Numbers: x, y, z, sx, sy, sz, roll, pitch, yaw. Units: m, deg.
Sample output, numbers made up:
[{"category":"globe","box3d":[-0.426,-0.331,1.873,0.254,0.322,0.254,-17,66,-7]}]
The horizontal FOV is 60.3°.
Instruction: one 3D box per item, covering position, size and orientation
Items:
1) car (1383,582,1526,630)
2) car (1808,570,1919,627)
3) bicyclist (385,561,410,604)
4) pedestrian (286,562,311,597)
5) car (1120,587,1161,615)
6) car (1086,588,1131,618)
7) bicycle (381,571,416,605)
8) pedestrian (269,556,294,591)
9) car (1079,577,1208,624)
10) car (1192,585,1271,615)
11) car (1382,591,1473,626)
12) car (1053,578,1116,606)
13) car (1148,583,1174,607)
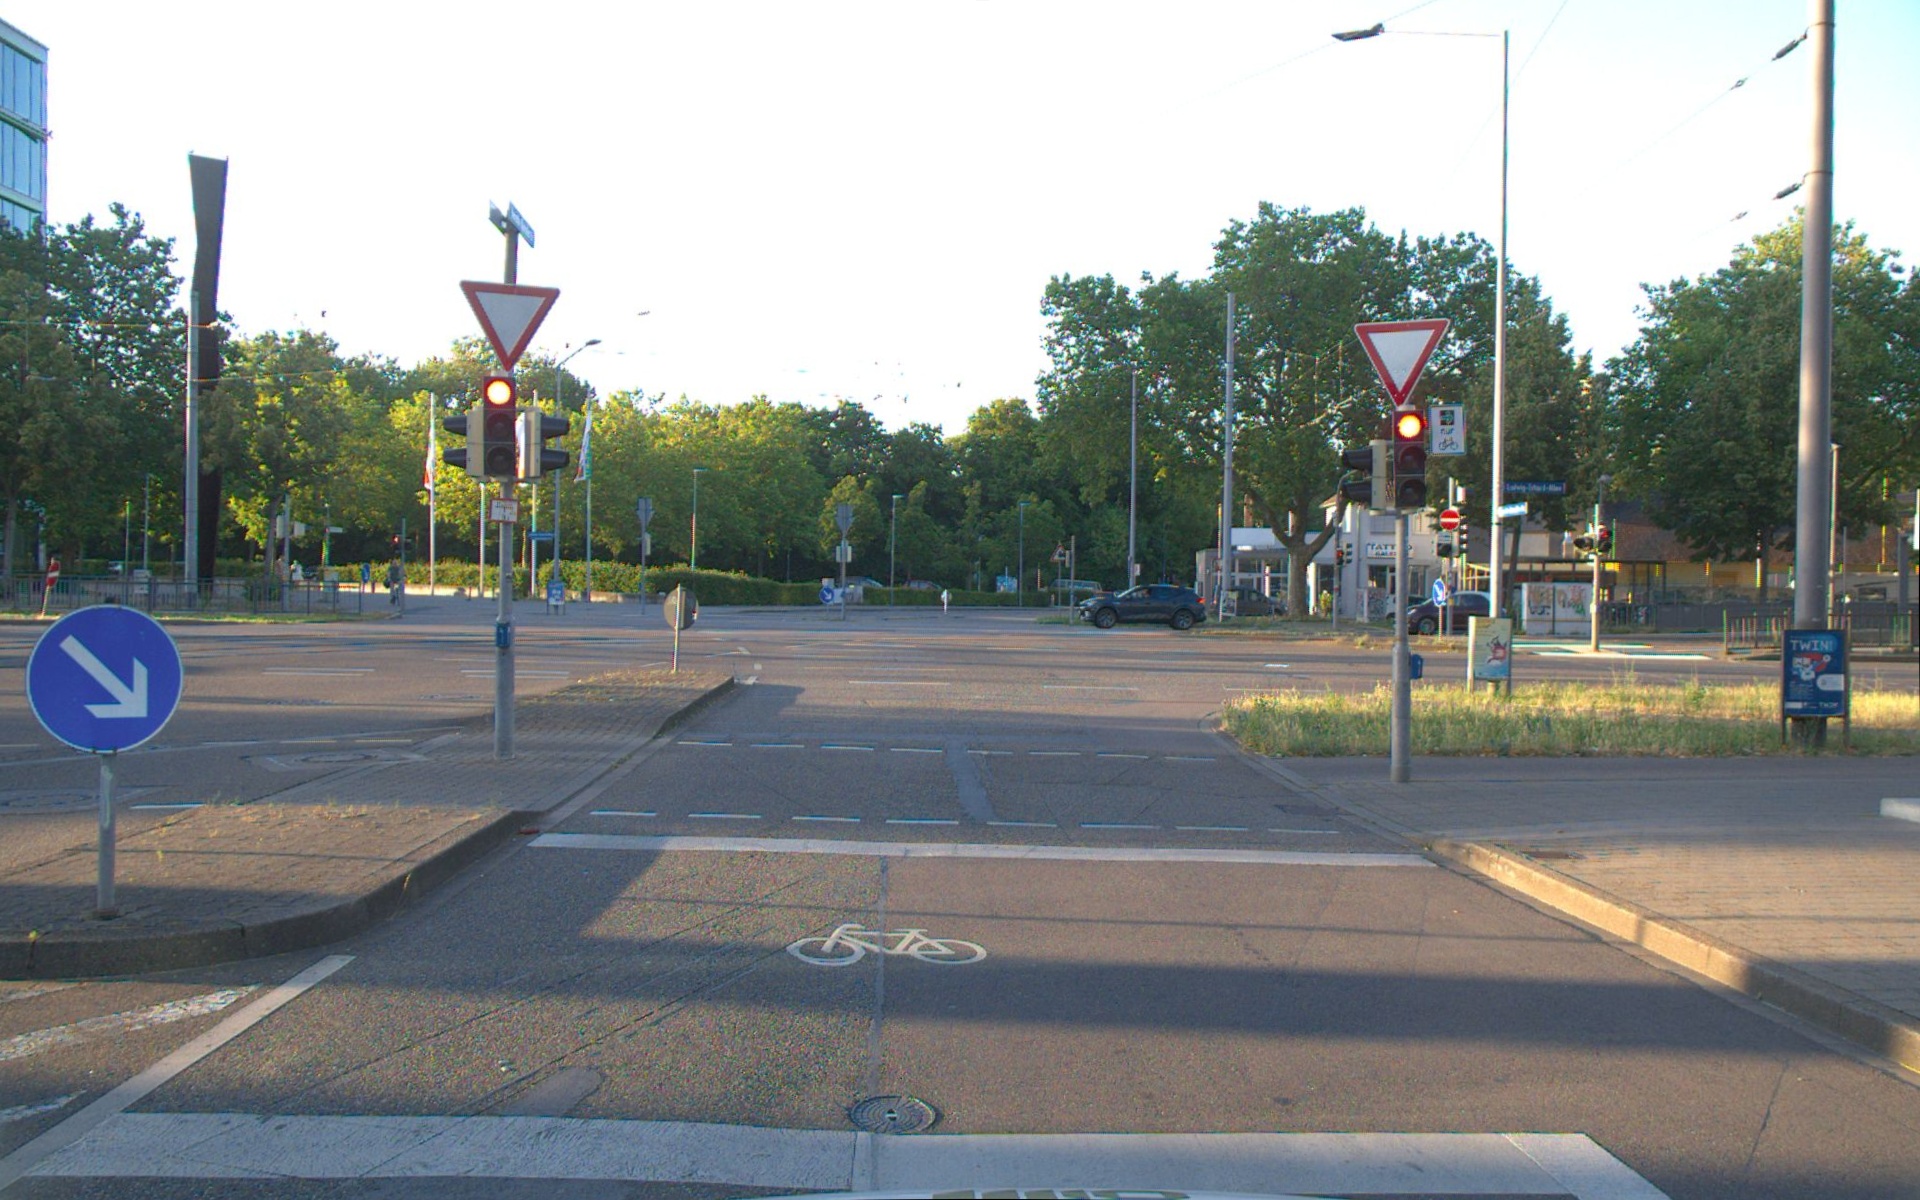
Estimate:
[{"category":"car","box3d":[16.261,0.202,54.565,4.240,1.522,1.805,1,-1,4]},{"category":"car","box3d":[43.672,-0.072,78.670,5.476,2.596,2.231,1,0,7]},{"category":"bicyclist","box3d":[-22.980,-0.713,67.535,0.744,1.739,0.909,1,0,-34]},{"category":"pedestrian","box3d":[-34.209,-1.066,85.511,0.845,1.774,0.828,1,0,33]},{"category":"car","box3d":[11.312,0.083,103.534,1.951,1.691,4.003,0,-1,14]},{"category":"car","box3d":[8.615,0.210,95.804,1.951,1.691,4.003,0,-1,14]},{"category":"bicycle","box3d":[-22.963,-0.487,67.611,0.723,1.364,2.660,1,1,-33]},{"category":"pedestrian","box3d":[-34.730,-1.359,84.647,0.844,1.774,0.829,1,0,30]},{"category":"car","box3d":[6.236,0.034,56.633,4.242,1.522,1.804,1,-1,1]},{"category":"car","box3d":[14.647,0.015,89.380,4.129,1.579,2.001,1,-1,7]},{"category":"car","box3d":[20.421,0.379,72.410,3.659,1.465,1.665,1,-1,9]},{"category":"car","box3d":[9.500,-0.603,126.018,4.675,2.041,2.000,1,-1,1]},{"category":"car","box3d":[15.990,-0.376,131.429,1.823,1.825,4.003,1,-1,10]}]
